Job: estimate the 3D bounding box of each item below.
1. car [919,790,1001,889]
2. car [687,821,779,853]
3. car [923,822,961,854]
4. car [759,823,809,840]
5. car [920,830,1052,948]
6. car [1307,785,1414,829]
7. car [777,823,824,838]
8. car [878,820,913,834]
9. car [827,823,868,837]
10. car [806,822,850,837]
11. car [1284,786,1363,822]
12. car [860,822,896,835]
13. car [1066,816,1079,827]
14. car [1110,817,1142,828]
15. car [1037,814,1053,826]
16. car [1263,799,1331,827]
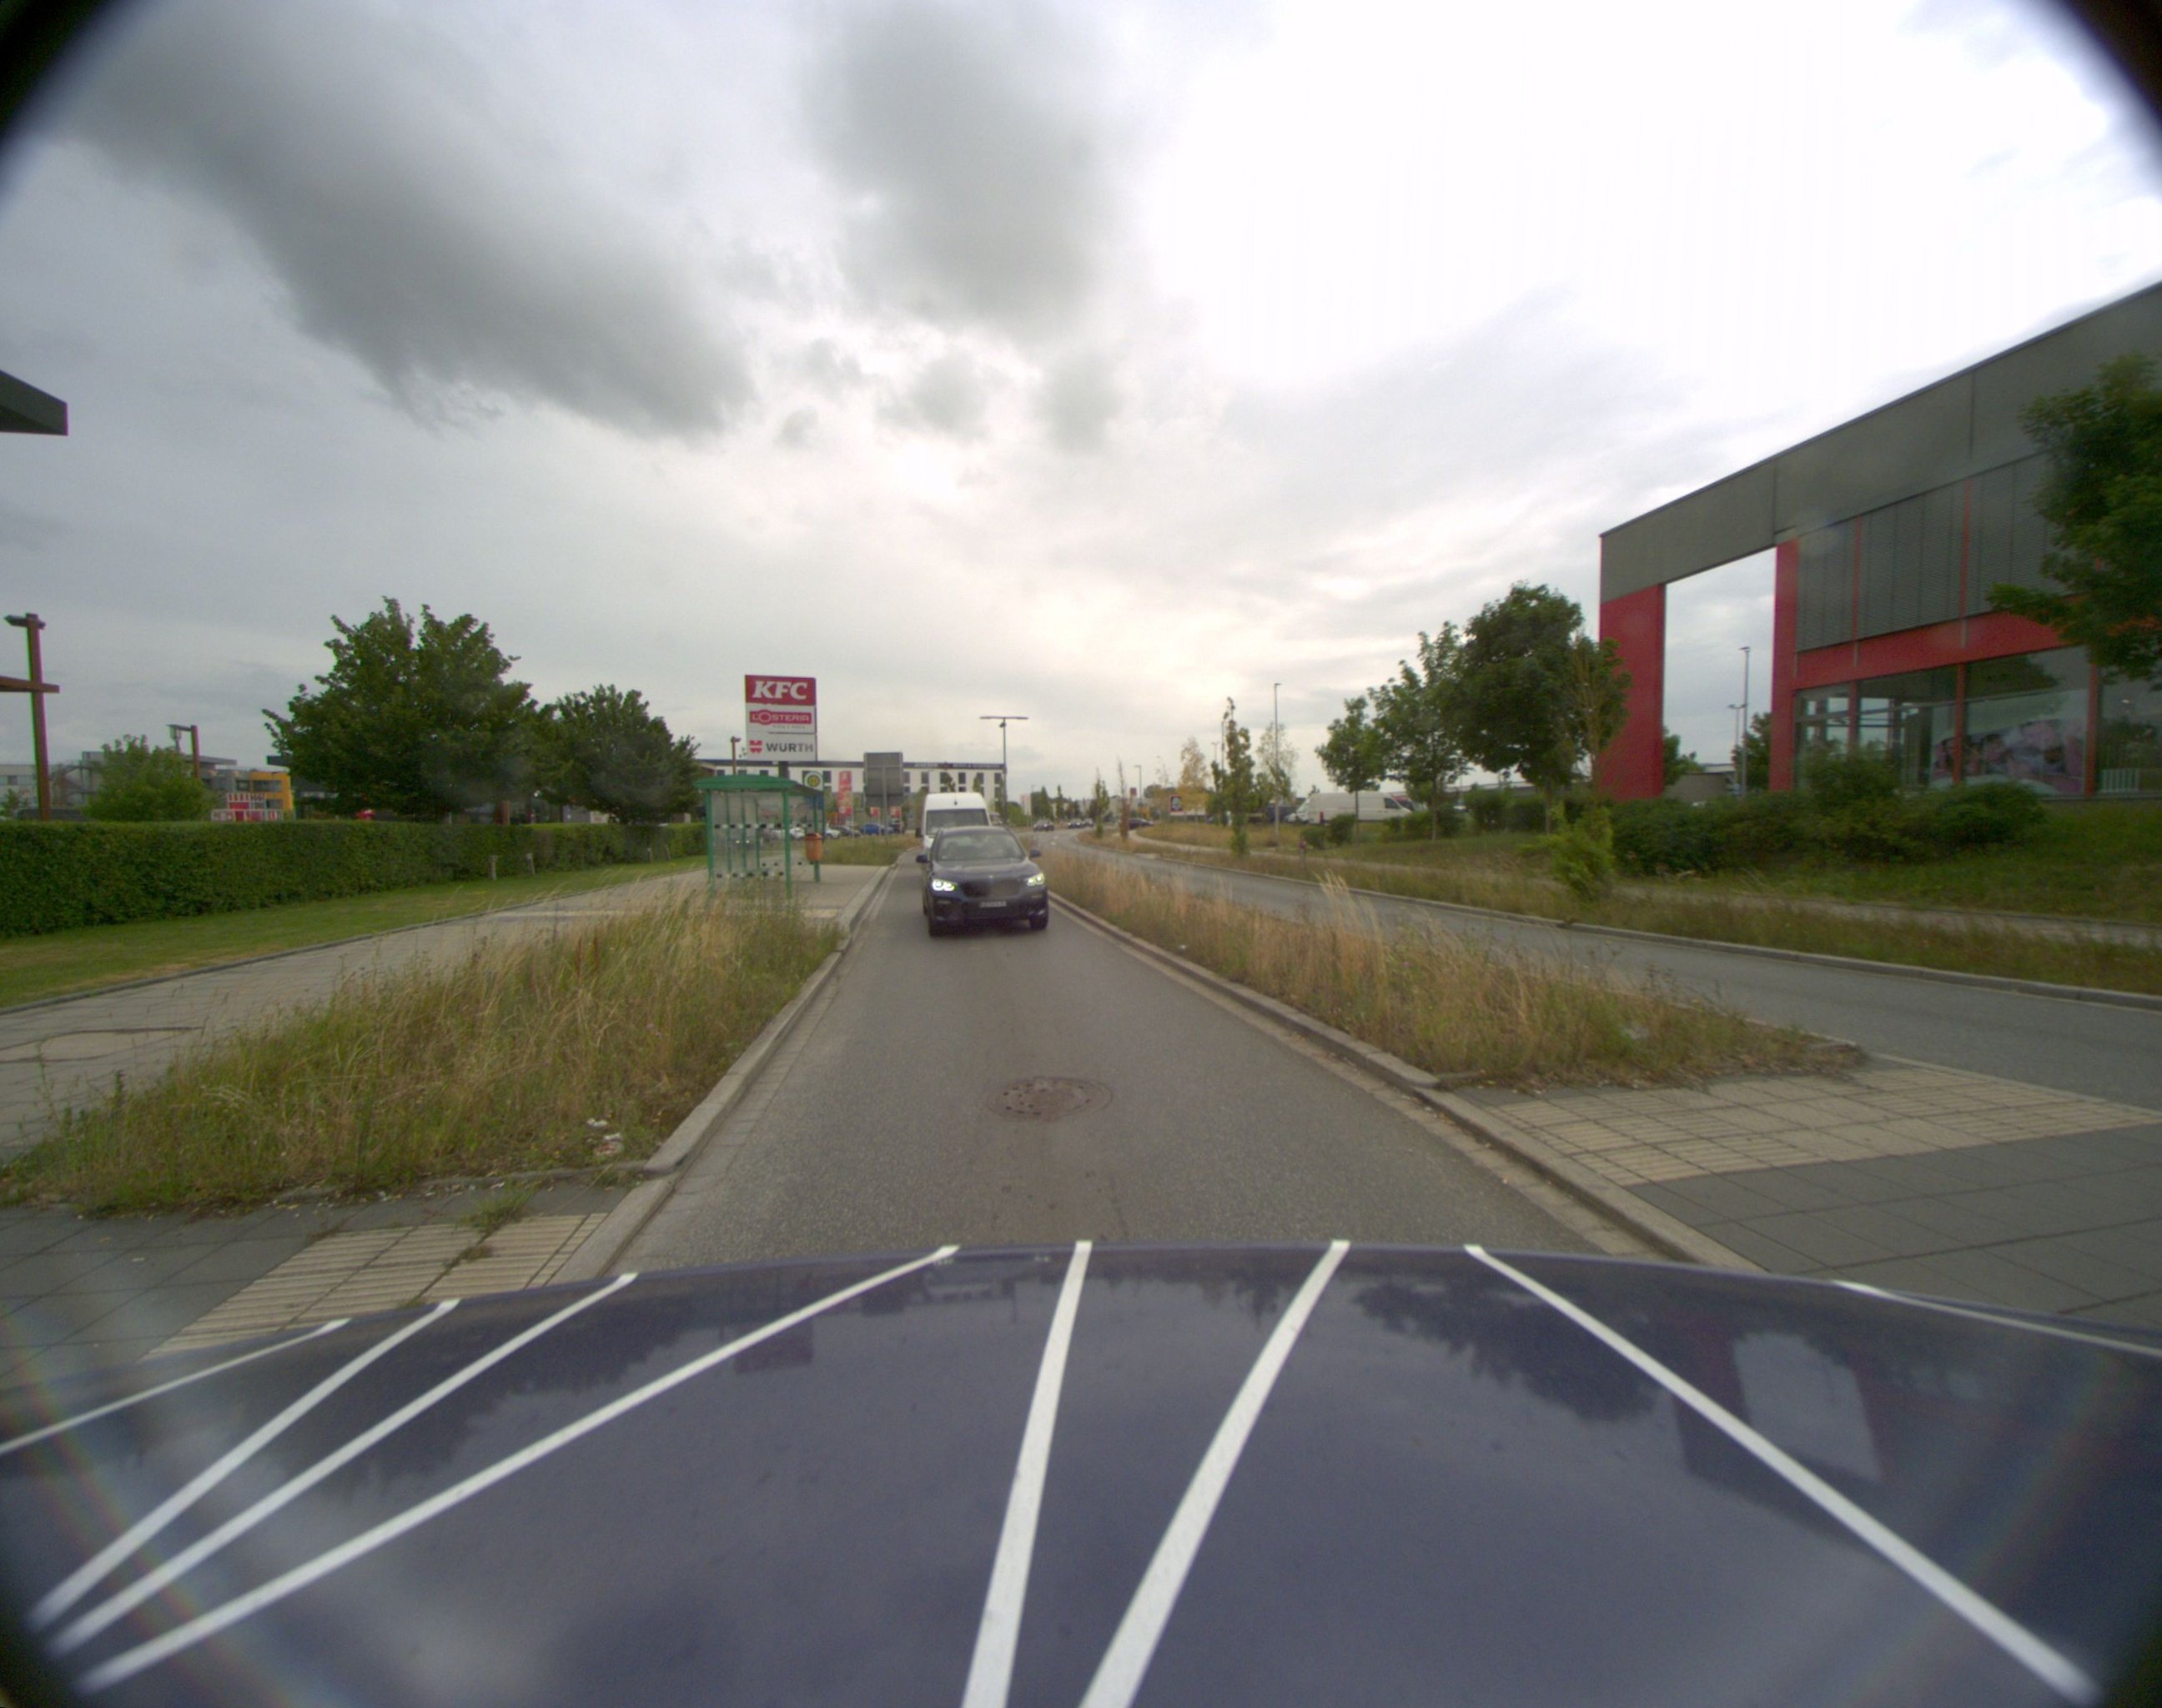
[{"bbox_3d":[-3.731,-0.507,22.627,2.028,2.514,6.095,-2,3,-12],"label":"car"},{"bbox_3d":[-18.560,-0.928,40.667,3.999,1.478,1.845,-3,4,-7],"label":"car"},{"bbox_3d":[-7.520,-0.904,41.142,1.869,1.599,3.994,-1,3,-10],"label":"car"},{"bbox_3d":[-27.870,-2.152,71.375,3.998,1.514,1.846,-1,3,-3],"label":"car"},{"bbox_3d":[-1.757,0.436,12.964,1.869,1.599,3.994,-2,3,-12],"label":"car"},{"bbox_3d":[18.459,-3.122,50.274,6.419,2.610,2.062,-3,4,-7],"label":"car"},{"bbox_3d":[-28.243,-2.373,76.630,3.998,1.478,1.846,-1,3,-3],"label":"car"},{"bbox_3d":[-23.973,-3.502,98.304,3.995,1.478,1.847,-2,4,6],"label":"car"},{"bbox_3d":[-26.485,-2.711,86.213,3.996,1.478,1.846,-1,3,1],"label":"car"},{"bbox_3d":[-27.057,-2.651,81.220,3.996,1.478,1.846,-1,3,1],"label":"car"},{"bbox_3d":[17.595,-3.624,55.093,5.058,2.360,2.061,-3,4,-11],"label":"car"},{"bbox_3d":[-25.614,-3.247,95.976,3.995,1.478,1.847,-2,4,6],"label":"car"},{"bbox_3d":[-1.422,-5.343,124.560,1.999,1.566,3.997,-2,4,0],"label":"car"},{"bbox_3d":[6.007,-4.202,101.213,3.999,1.504,1.733,-1,3,-5],"label":"car"},{"bbox_3d":[-4.851,-4.603,102.344,1.999,1.566,3.997,-2,4,0],"label":"car"},{"bbox_3d":[17.885,-3.397,62.997,5.055,2.212,2.063,-1,3,-4],"label":"car"}]
